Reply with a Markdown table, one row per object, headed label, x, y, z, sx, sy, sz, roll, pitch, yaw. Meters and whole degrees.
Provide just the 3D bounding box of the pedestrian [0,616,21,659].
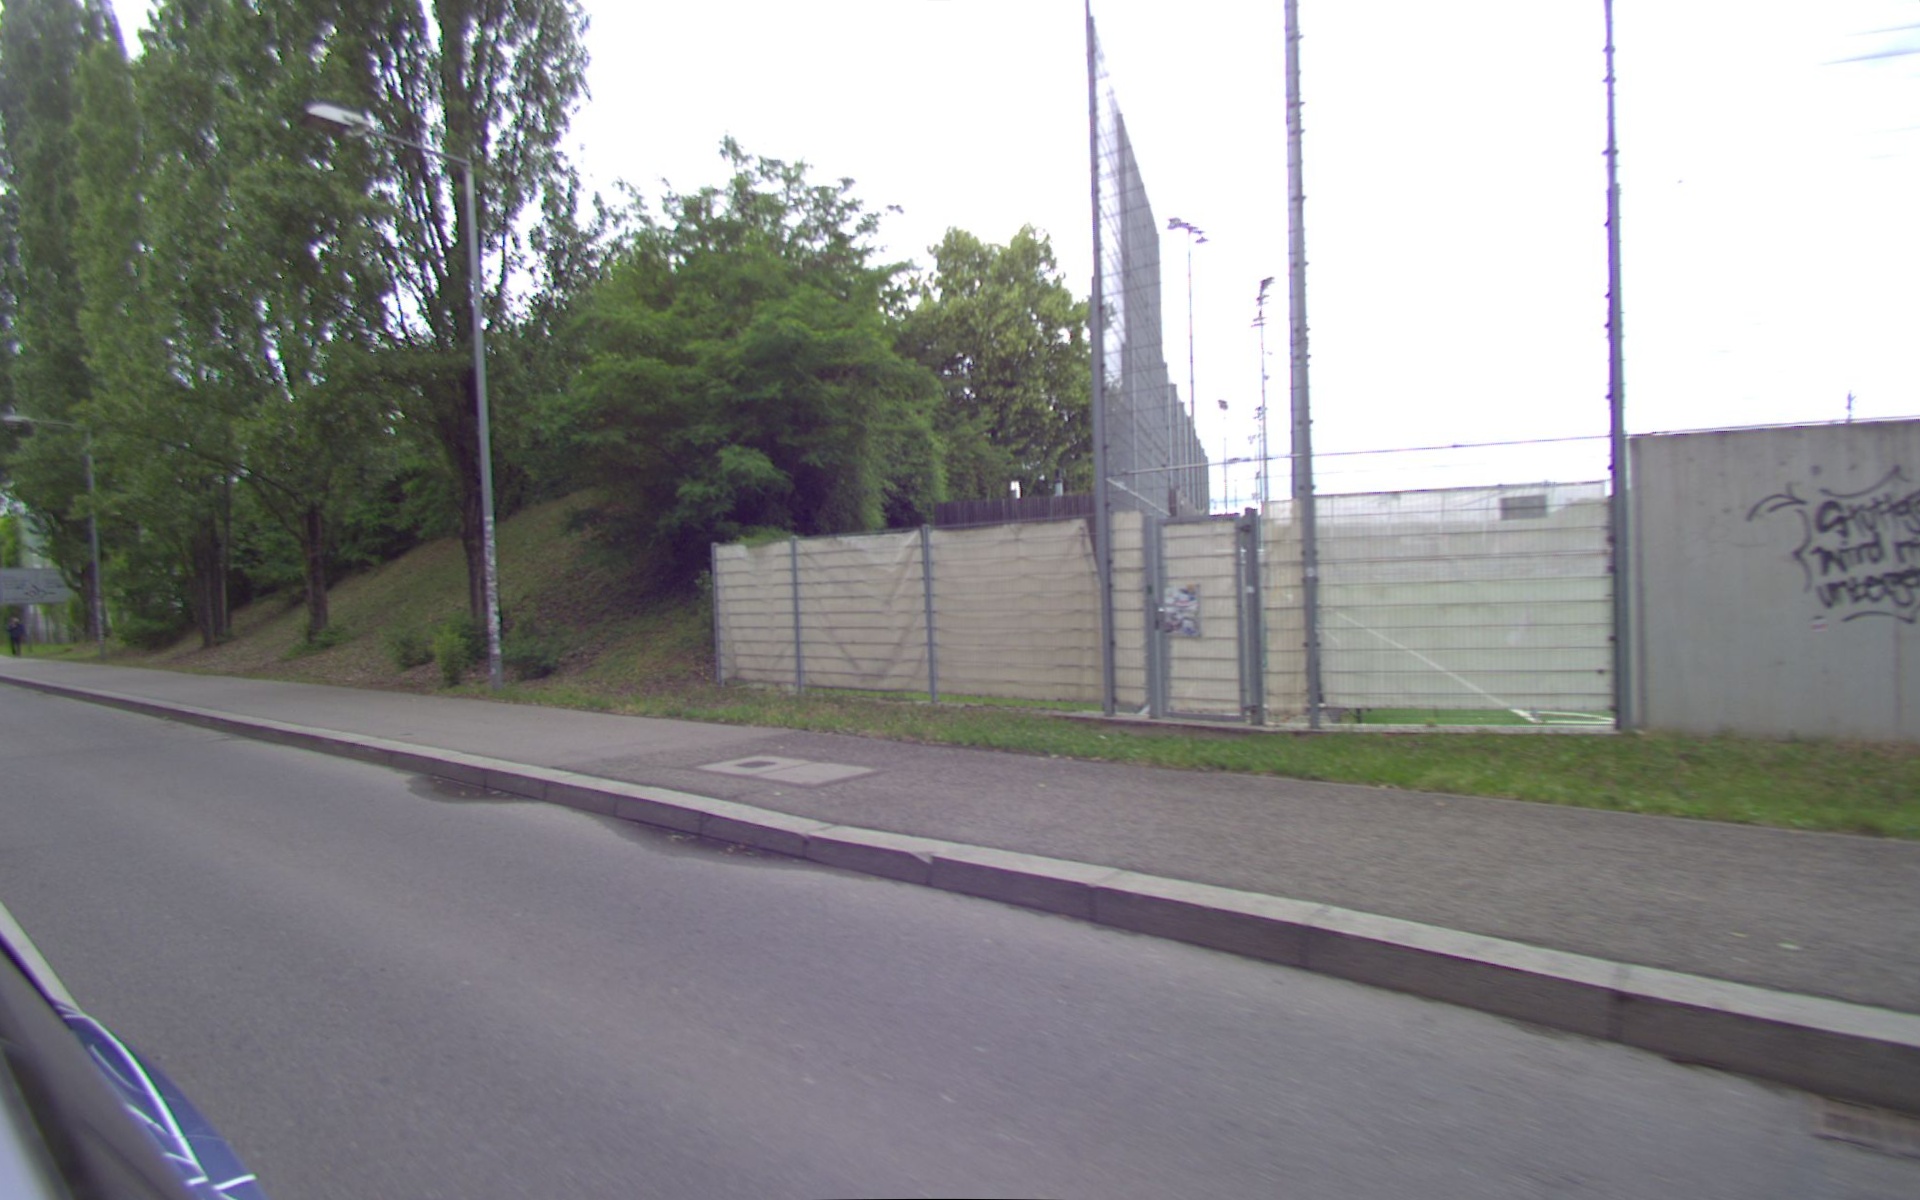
| label | x | y | z | sx | sy | sz | roll | pitch | yaw |
| --- | --- | --- | --- | --- | --- | --- | --- | --- | --- |
| pedestrian | -42.756 | 1.665 | 45.522 | 0.736 | 1.908 | 0.654 | -1 | 0 | 40 |
